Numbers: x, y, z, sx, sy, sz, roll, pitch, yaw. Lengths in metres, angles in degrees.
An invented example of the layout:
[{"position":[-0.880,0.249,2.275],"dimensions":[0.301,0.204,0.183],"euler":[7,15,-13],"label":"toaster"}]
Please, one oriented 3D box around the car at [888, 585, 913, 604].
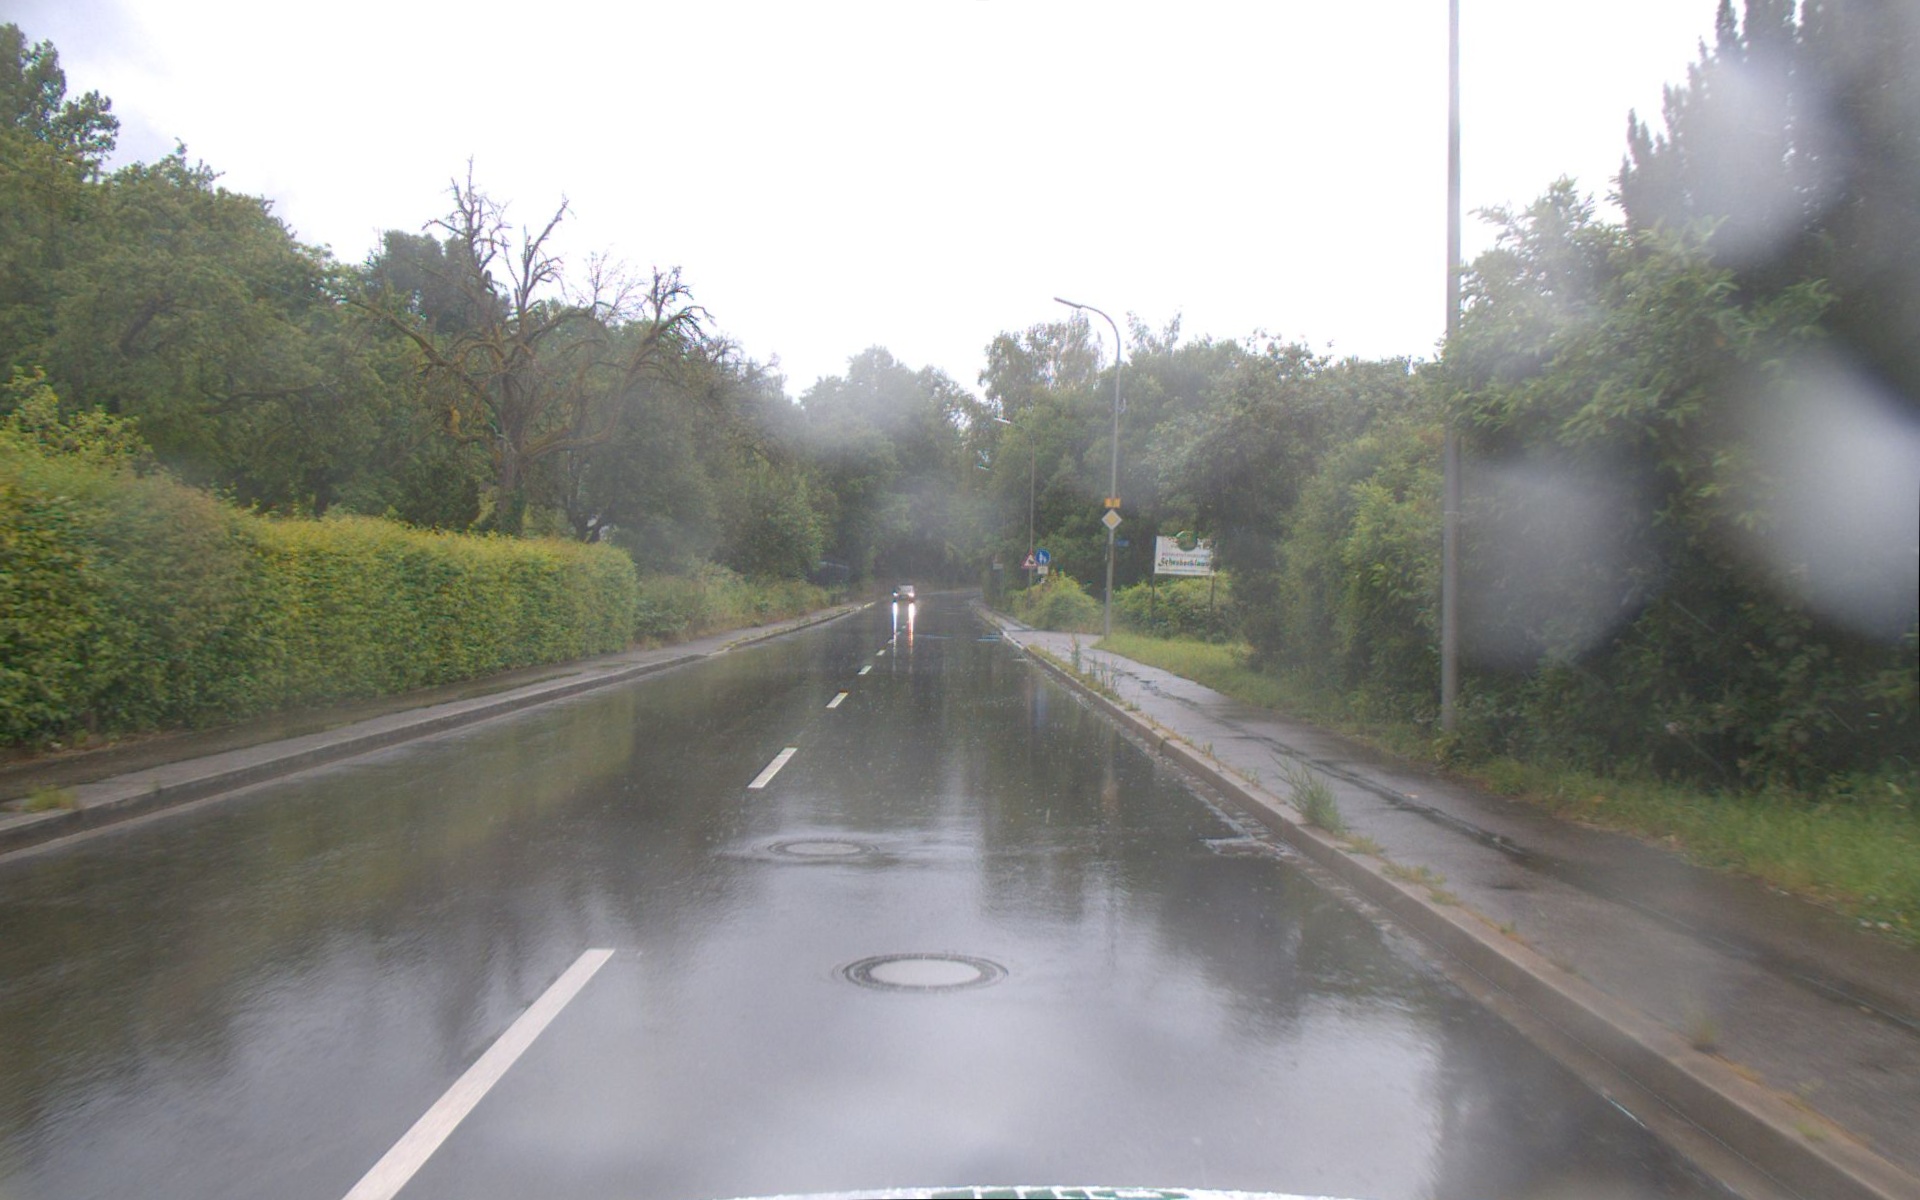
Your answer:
[{"position":[-5.008,-0.463,138.836],"dimensions":[1.953,1.479,4.427],"euler":[1,1,-1],"label":"car"}]
